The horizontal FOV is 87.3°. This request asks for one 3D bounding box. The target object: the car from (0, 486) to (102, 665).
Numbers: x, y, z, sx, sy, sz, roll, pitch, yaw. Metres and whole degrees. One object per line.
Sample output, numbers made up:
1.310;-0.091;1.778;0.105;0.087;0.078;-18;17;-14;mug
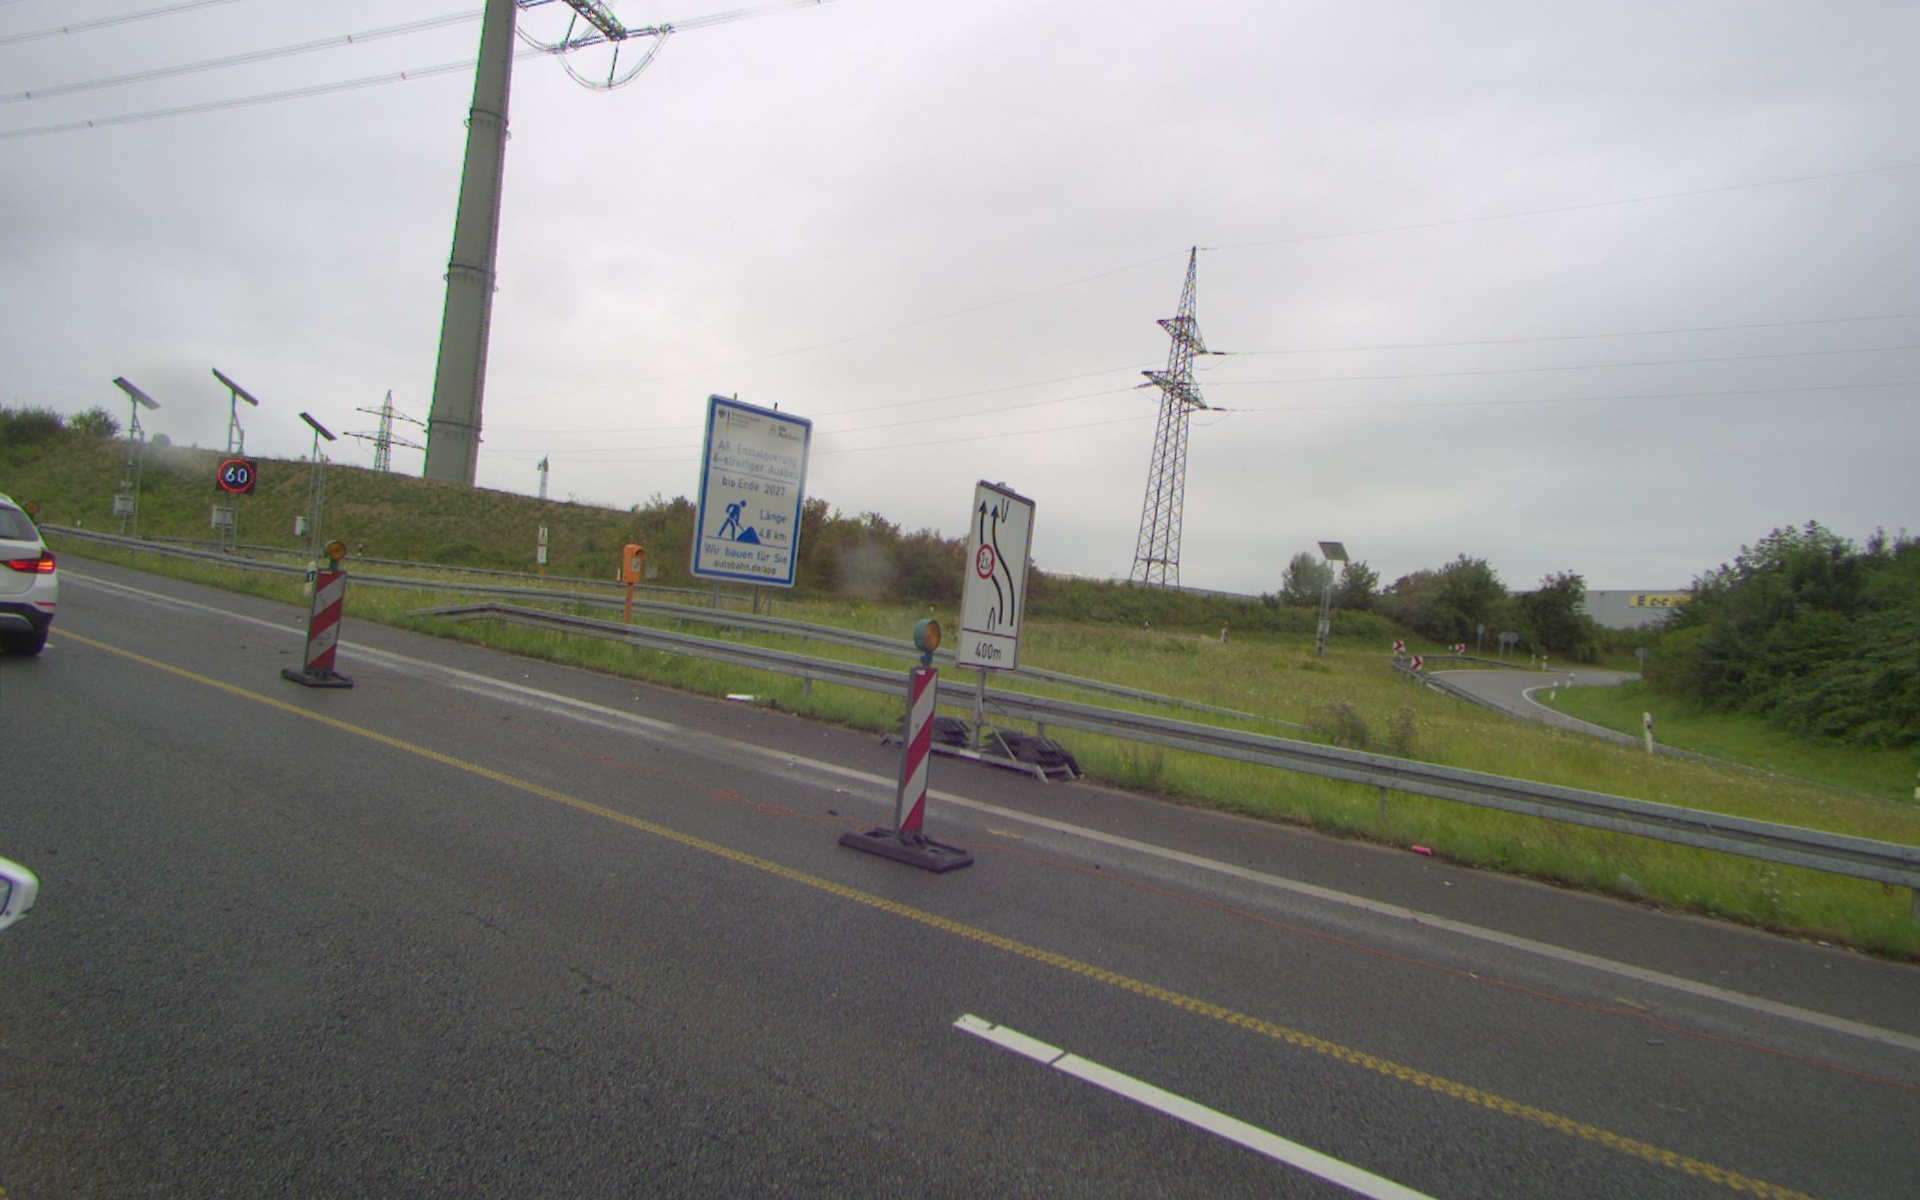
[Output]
-10.316;-0.444;9.707;4.128;1.553;1.872;7;-1;32;car
